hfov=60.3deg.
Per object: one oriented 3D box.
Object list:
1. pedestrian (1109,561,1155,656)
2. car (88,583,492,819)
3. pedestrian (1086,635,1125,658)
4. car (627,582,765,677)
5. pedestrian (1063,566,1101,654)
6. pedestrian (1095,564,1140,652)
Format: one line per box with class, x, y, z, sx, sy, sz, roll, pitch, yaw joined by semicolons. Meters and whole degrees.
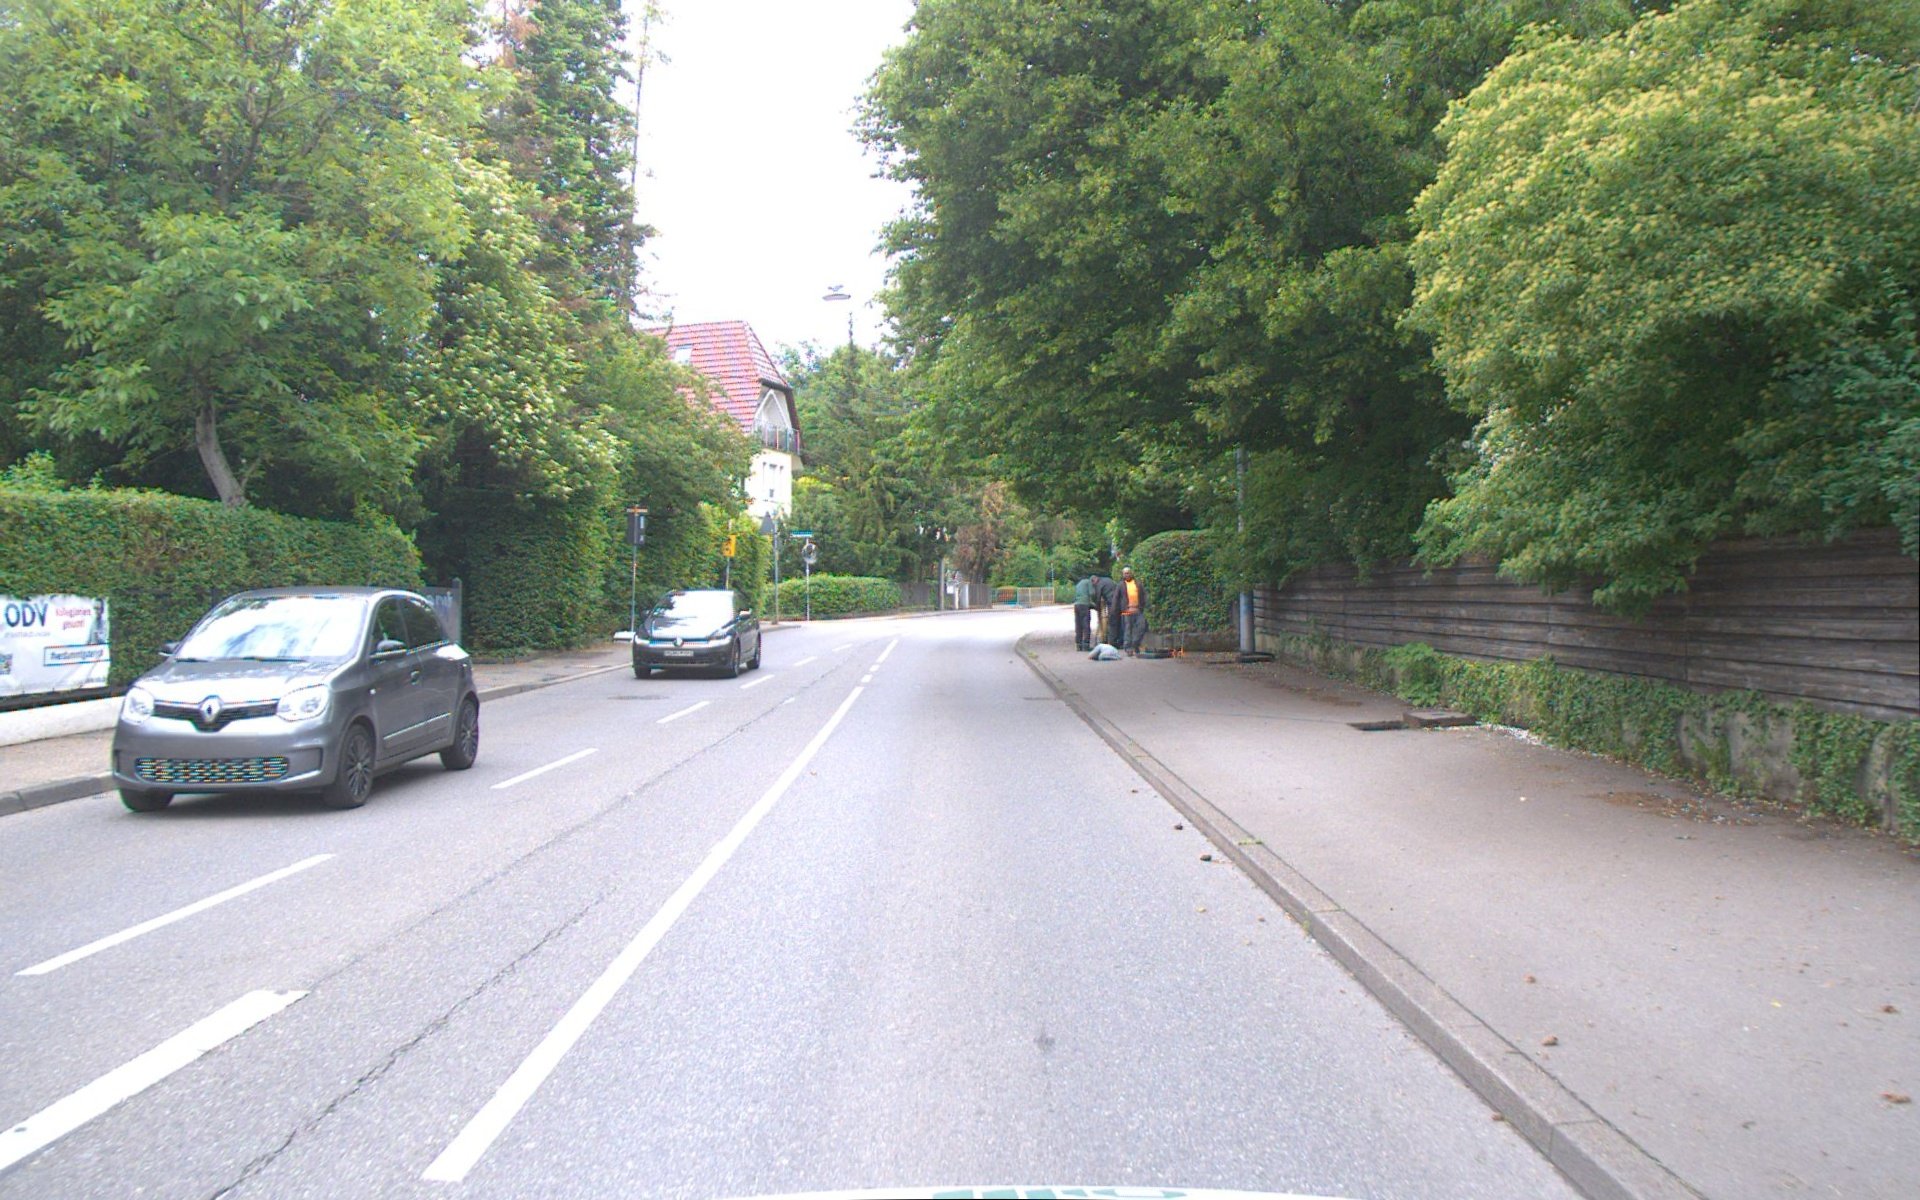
pedestrian;3.397;0.163;32.683;0.790;1.838;0.741;-1;0;-1
car;-4.946;0.652;12.744;1.650;1.545;3.536;0;1;0
pedestrian;2.796;0.897;31.865;0.658;0.400;0.741;-1;0;-1
car;-4.472;0.459;28.538;1.646;1.497;4.018;-1;0;1
pedestrian;2.589;0.211;35.116;0.591;1.838;0.516;-1;0;40
pedestrian;3.358;0.170;35.236;0.685;1.838;0.663;-1;0;-41
